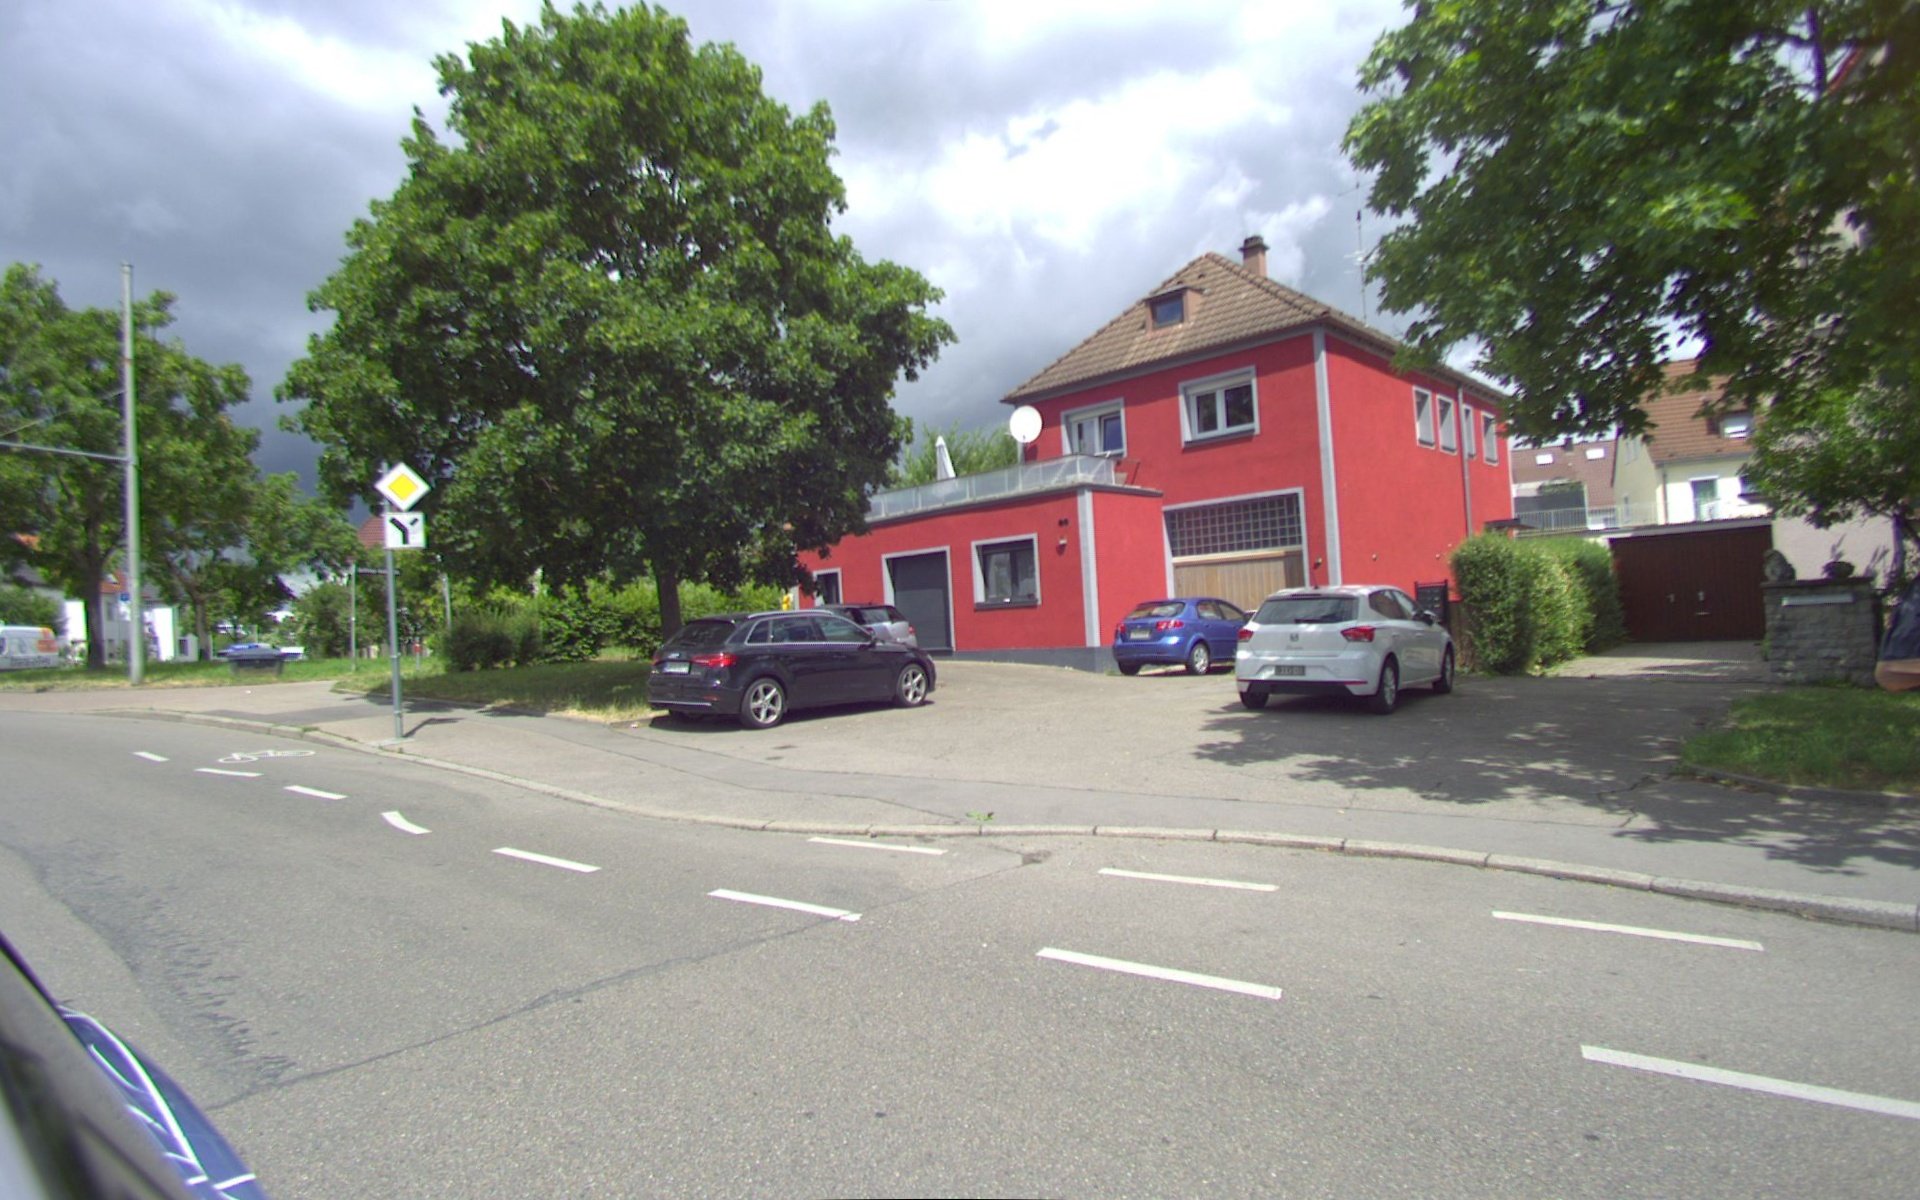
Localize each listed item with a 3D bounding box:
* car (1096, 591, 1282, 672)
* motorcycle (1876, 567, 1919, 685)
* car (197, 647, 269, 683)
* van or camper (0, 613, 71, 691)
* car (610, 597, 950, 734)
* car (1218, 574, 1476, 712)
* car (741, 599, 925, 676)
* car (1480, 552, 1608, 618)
[{"bbox_3d":[4.464,0.558,19.402,1.843,1.388,3.760,-3,-2,42],"label":"car"},{"bbox_3d":[11.829,0.272,11.360,2.235,1.325,0.908,-1,1,41],"label":"motorcycle"},{"bbox_3d":[-42.527,3.756,59.296,2.194,1.821,4.415,-3,-1,-19],"label":"car"},{"bbox_3d":[-42.489,2.335,44.533,2.233,3.018,8.351,-3,-5,-21],"label":"van or camper"},{"bbox_3d":[-2.274,0.758,13.576,2.000,1.404,4.086,-2,1,42],"label":"car"},{"bbox_3d":[4.897,0.448,12.491,1.874,1.414,3.881,-2,-1,39],"label":"car"},{"bbox_3d":[-2.804,0.786,21.762,4.077,1.436,1.623,-2,1,42],"label":"car"},{"bbox_3d":[13.749,-0.339,23.744,1.661,1.414,3.874,-2,-1,45],"label":"car"}]
